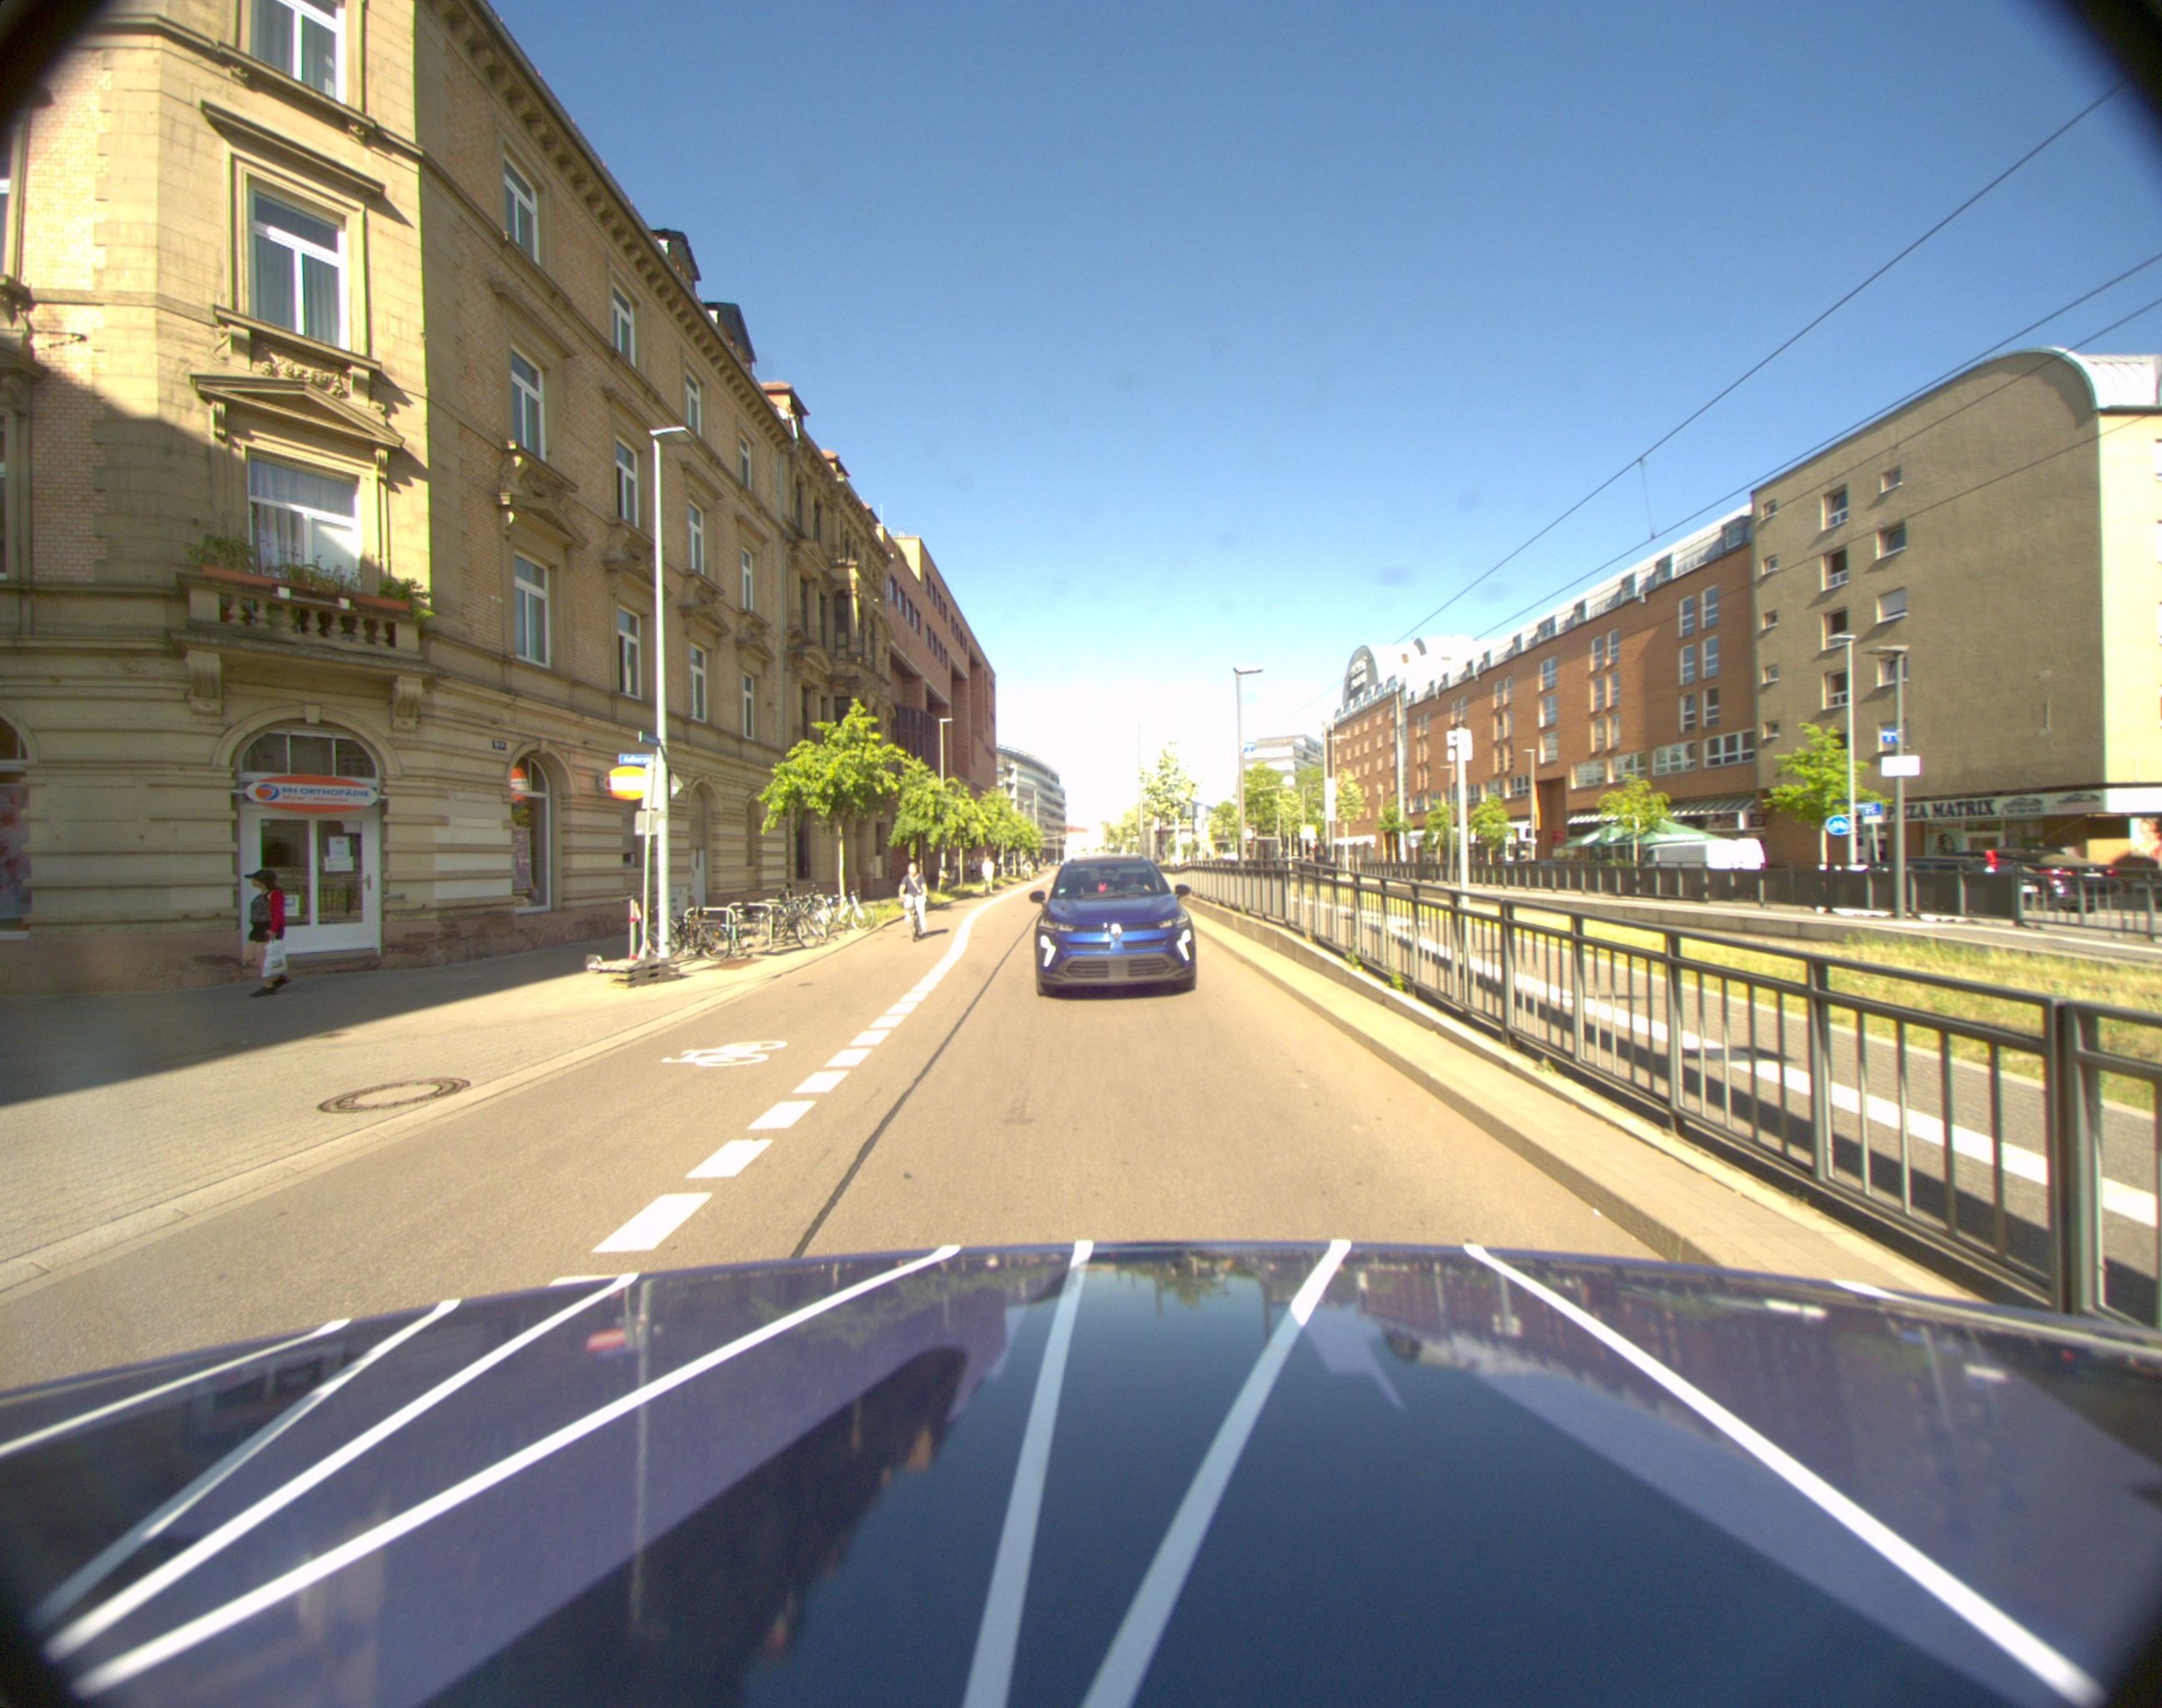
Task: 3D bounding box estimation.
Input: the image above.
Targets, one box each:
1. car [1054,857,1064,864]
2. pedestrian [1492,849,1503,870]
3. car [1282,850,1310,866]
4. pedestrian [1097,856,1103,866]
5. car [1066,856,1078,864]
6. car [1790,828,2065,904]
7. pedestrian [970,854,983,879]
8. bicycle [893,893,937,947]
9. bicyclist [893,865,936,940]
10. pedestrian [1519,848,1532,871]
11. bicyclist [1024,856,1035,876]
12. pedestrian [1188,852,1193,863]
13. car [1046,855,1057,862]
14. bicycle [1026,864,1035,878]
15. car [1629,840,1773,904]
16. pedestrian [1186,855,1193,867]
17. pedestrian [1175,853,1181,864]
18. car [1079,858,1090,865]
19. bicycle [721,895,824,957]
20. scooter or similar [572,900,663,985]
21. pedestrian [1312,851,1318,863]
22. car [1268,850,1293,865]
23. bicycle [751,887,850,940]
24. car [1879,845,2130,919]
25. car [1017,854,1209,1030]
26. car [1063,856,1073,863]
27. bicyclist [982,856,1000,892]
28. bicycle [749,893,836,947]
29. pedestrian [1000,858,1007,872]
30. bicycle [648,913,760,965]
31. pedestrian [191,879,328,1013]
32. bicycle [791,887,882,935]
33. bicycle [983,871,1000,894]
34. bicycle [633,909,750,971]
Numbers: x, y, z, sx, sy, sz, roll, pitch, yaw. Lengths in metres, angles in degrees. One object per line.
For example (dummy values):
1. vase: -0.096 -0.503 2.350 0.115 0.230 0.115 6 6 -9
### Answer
1. car: -5.226 1.498 181.454 1.882 1.455 4.001 -2 1 7
2. pedestrian: 35.607 0.450 64.969 0.622 1.830 0.644 -1 1 -1
3. car: 24.131 0.448 85.297 1.998 1.674 3.999 -2 1 1
4. pedestrian: 2.638 0.971 104.924 0.774 1.478 0.686 -1 0 1
5. car: -2.028 1.357 173.730 2.120 1.547 4.003 -1 0 9
6. car: 18.850 0.240 17.236 1.821 1.507 4.000 -1 0 1
7. pedestrian: -7.990 0.928 58.215 0.790 1.872 1.106 -1 1 0
8. bicycle: -3.569 1.398 16.421 0.558 1.021 1.507 -3 0 0
9. bicyclist: -3.589 1.030 16.455 0.659 1.528 0.909 -3 0 0
10. pedestrian: 35.074 0.451 59.995 0.622 1.830 0.645 -1 1 1
11. bicyclist: -4.319 1.035 64.291 0.755 1.607 0.762 -3 0 4
12. pedestrian: 15.104 0.508 104.601 0.609 1.560 0.909 -3 0 14
13. car: -6.752 0.919 174.204 1.882 1.455 4.001 -2 1 7
14. bicycle: -4.272 1.449 64.328 0.578 1.090 1.507 -3 0 3
15. car: 25.349 0.677 31.414 1.997 2.356 5.649 -1 0 8
16. pedestrian: 15.200 0.979 106.271 0.608 1.560 0.729 -1 0 41
17. pedestrian: 13.286 0.587 103.770 0.608 1.560 0.728 -1 0 21
18. car: 0.894 1.696 172.579 1.882 1.455 4.002 -2 1 8
19. bicycle: -5.925 1.367 14.639 1.727 1.094 0.607 1 0 4
20. scooter or similar: -6.766 1.276 11.097 1.113 1.183 0.419 0 0 8
21. pedestrian: 33.826 0.465 109.910 0.715 1.745 0.780 -1 0 7
22. car: 24.935 0.432 95.174 1.998 1.674 3.999 -2 1 1
23. bicycle: -6.448 1.351 17.514 1.999 1.121 0.710 1 0 2
24. car: 24.181 0.680 20.167 1.819 1.749 4.000 -1 0 0
25. car: 0.338 0.864 9.404 1.802 1.596 3.999 -2 1 1
26. car: -3.320 1.319 189.437 1.882 1.455 4.001 -2 1 7
27. bicyclist: -4.498 0.981 38.041 0.684 1.718 0.909 -3 0 3
28. bicycle: -6.128 1.398 16.198 1.603 1.039 0.607 1 0 4
29. pedestrian: -8.248 1.210 80.874 0.633 1.478 0.736 -1 1 0
30. bicycle: -6.524 1.465 13.170 1.673 0.816 0.607 0 0 7
31. pedestrian: -10.202 1.097 9.461 0.710 1.533 0.928 -1 1 21
32. bicycle: -6.021 1.399 18.810 2.001 1.086 0.846 1 0 -9
33. bicycle: -4.464 1.429 38.069 0.578 1.090 1.507 -3 0 2
34. bicycle: -6.395 1.400 12.502 1.673 0.938 0.607 0 0 8
